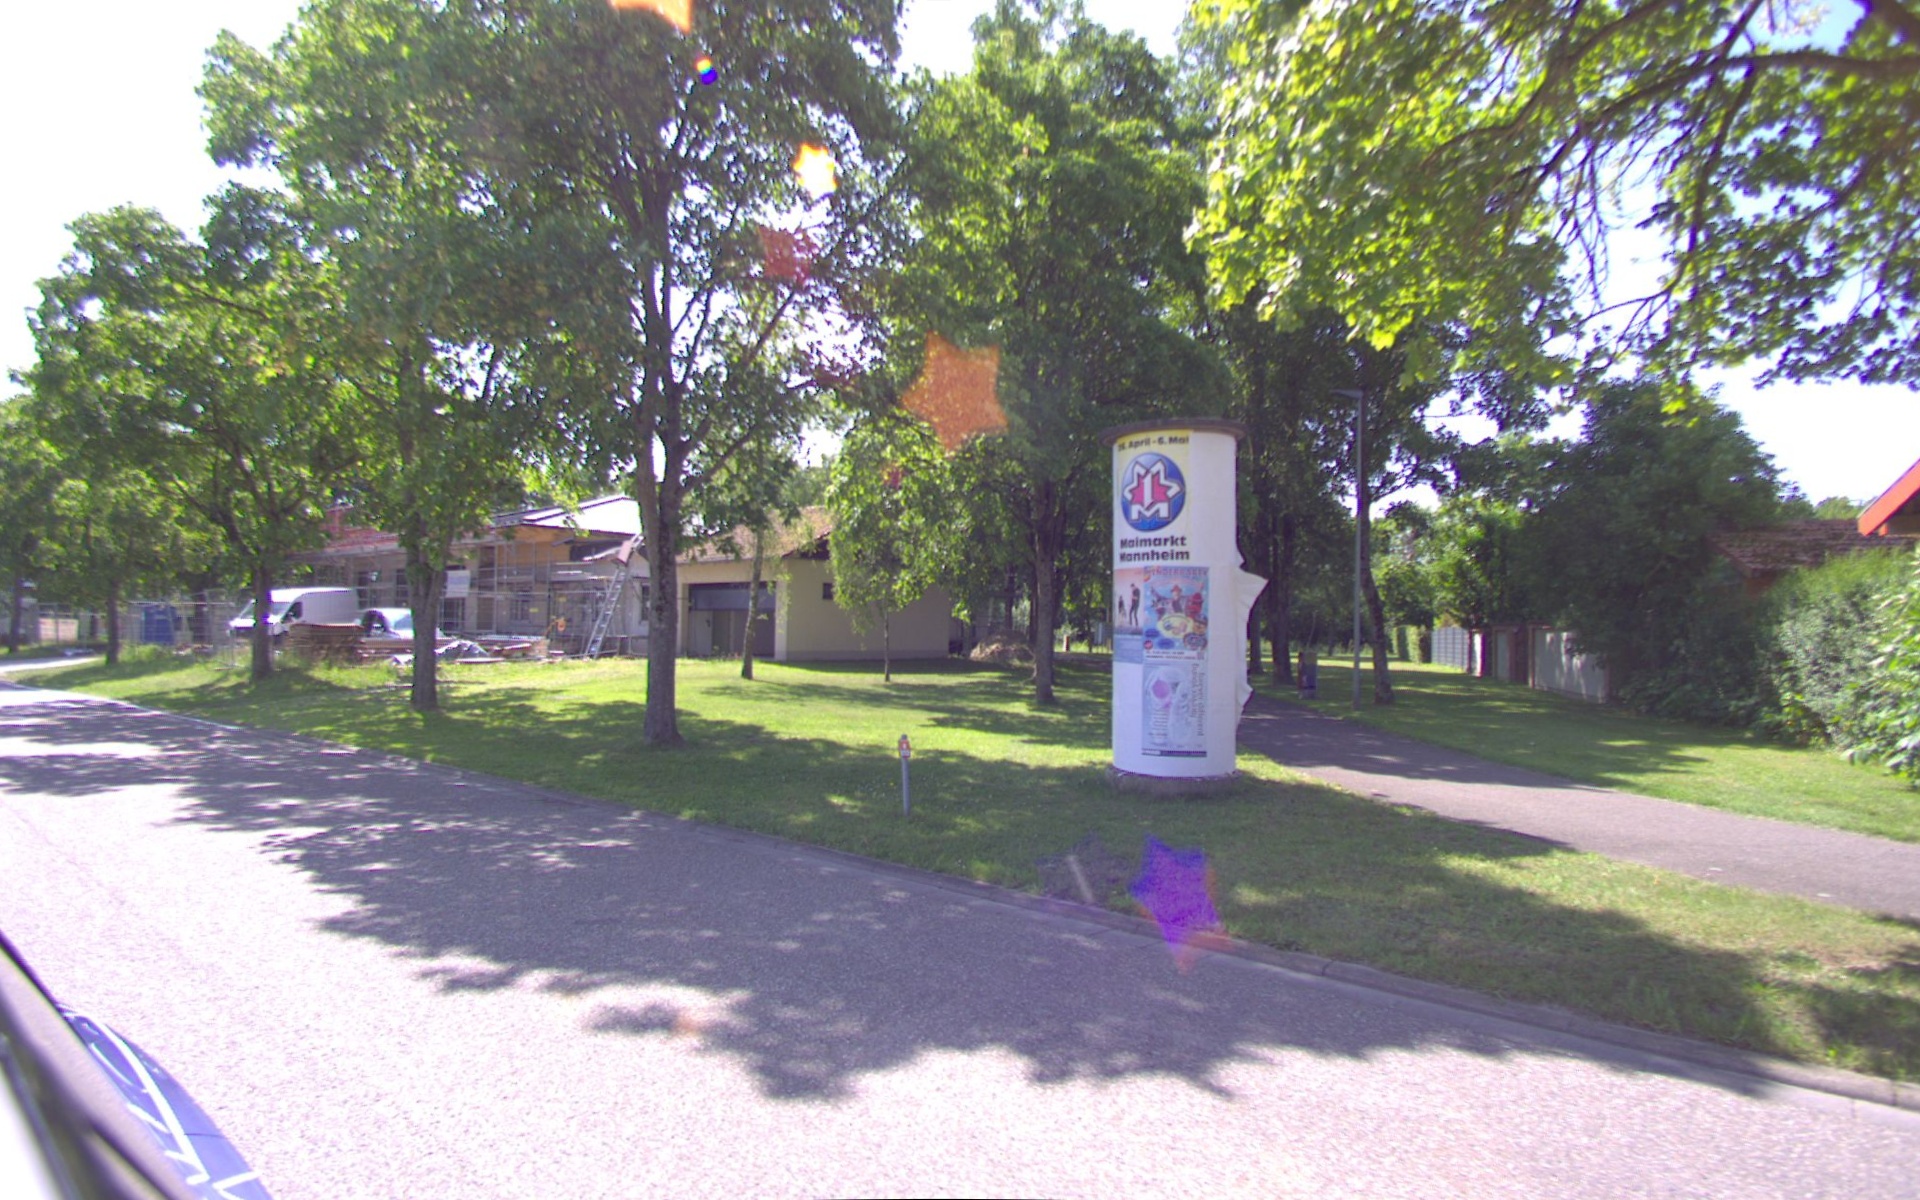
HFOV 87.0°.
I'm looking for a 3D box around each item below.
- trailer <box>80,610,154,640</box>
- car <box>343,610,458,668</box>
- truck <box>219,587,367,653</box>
[{"bbox_3d":[-68.606,2.057,82.397,1.819,2.295,4.200,-1,-3,26],"label":"trailer"},{"bbox_3d":[-19.067,1.305,34.426,4.324,1.852,1.951,-1,-2,39],"label":"car"},{"bbox_3d":[-27.524,0.846,42.087,1.973,2.502,5.926,1,-1,3],"label":"truck"}]
